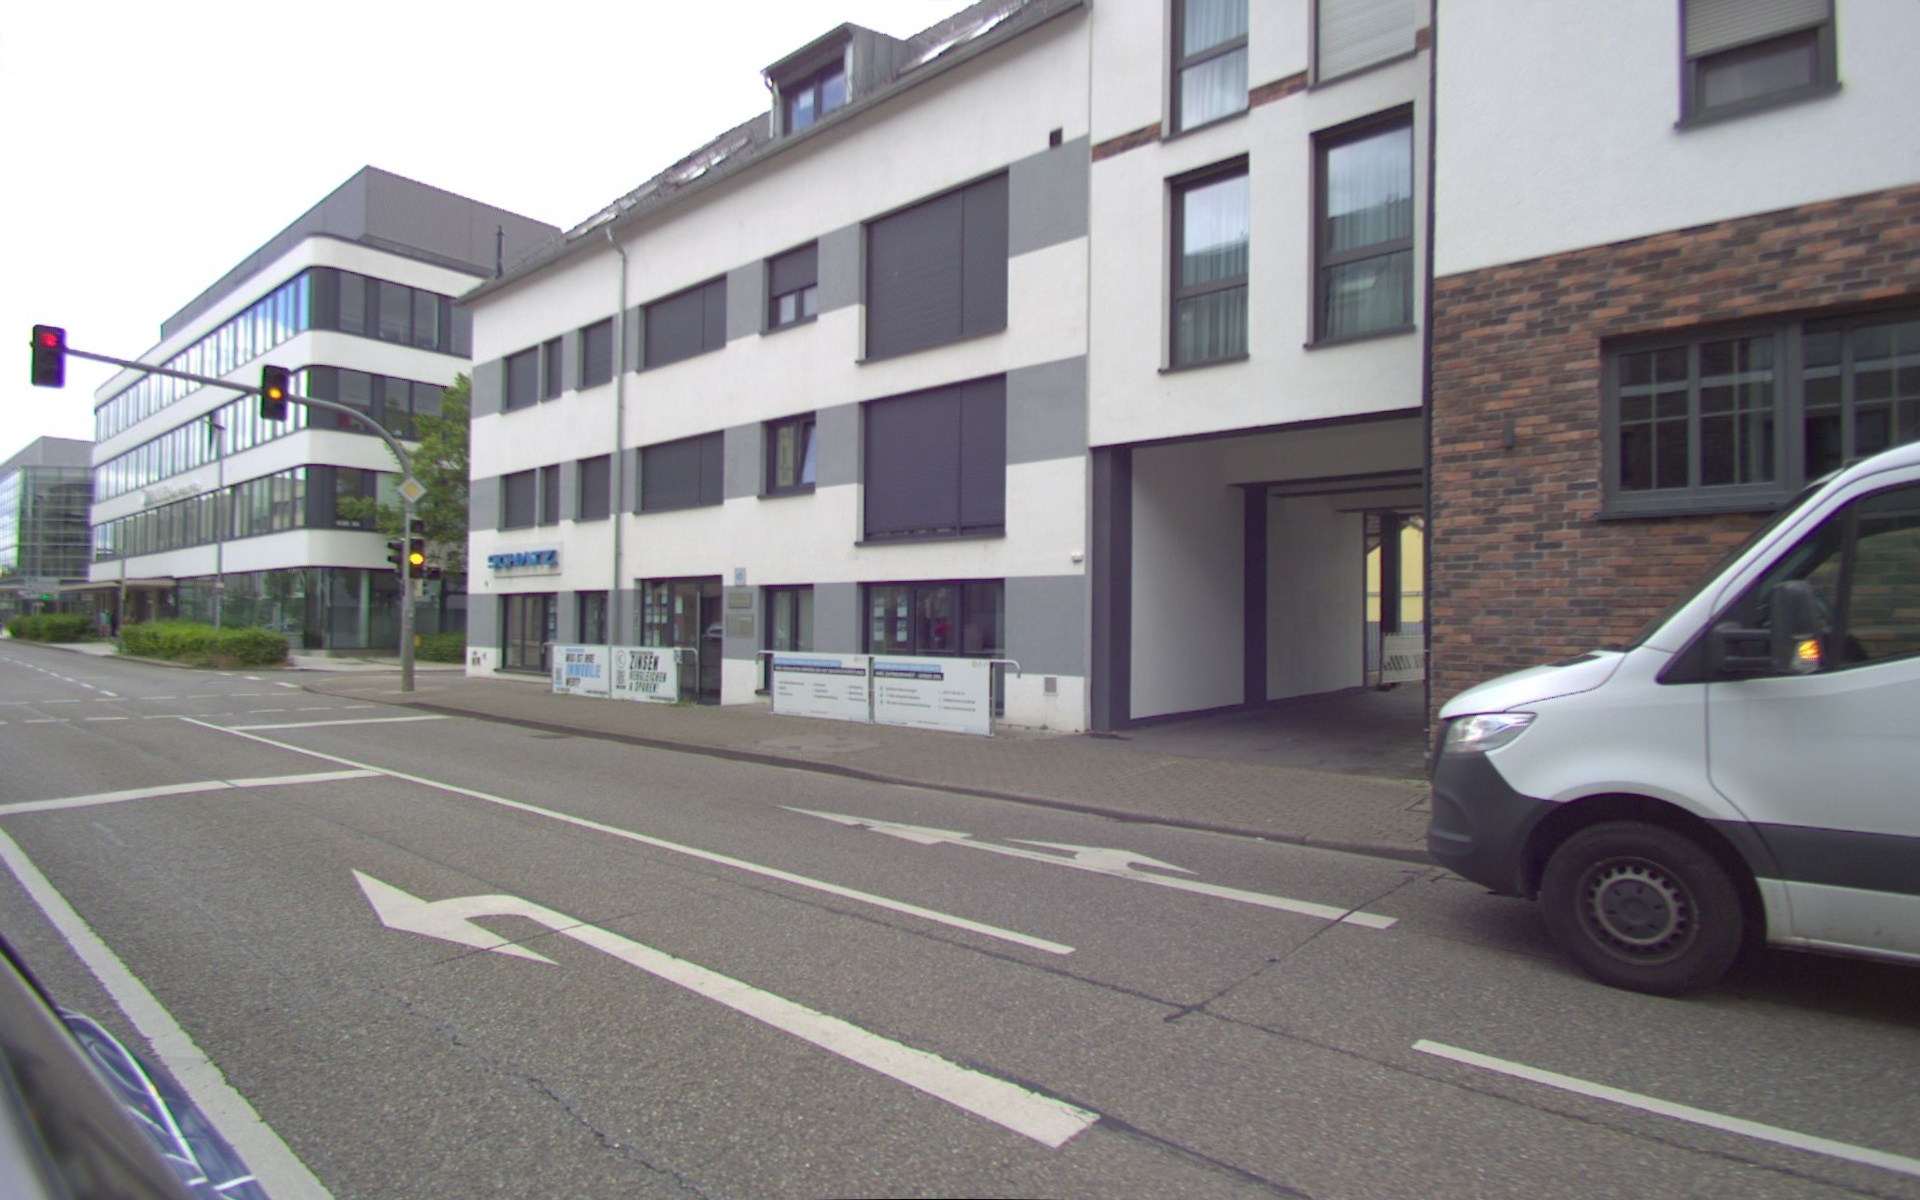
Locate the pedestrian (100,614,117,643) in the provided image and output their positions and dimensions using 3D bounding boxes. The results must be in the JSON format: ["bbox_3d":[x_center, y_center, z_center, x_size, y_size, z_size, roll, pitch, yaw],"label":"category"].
[{"bbox_3d":[-50.297,1.660,59.781,0.501,1.723,0.613,0,-1,10],"label":"pedestrian"}]

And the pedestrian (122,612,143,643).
[{"bbox_3d":[-44.567,1.472,54.514,0.931,1.625,0.722,-1,0,42],"label":"pedestrian"}]

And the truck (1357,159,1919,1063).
[{"bbox_3d":[5.716,0.039,2.730,8.358,2.976,2.410,-1,-3,40],"label":"truck"}]

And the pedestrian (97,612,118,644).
[{"bbox_3d":[-45.659,1.494,54.181,0.931,1.686,0.722,-1,0,42],"label":"pedestrian"}]

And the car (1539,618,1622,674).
[{"bbox_3d":[18.540,1.323,30.167,1.749,1.551,3.950,-1,-2,37],"label":"car"}]

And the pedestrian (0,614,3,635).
[{"bbox_3d":[-72.070,1.843,75.634,0.820,1.579,0.813,-1,0,-44],"label":"pedestrian"}]
